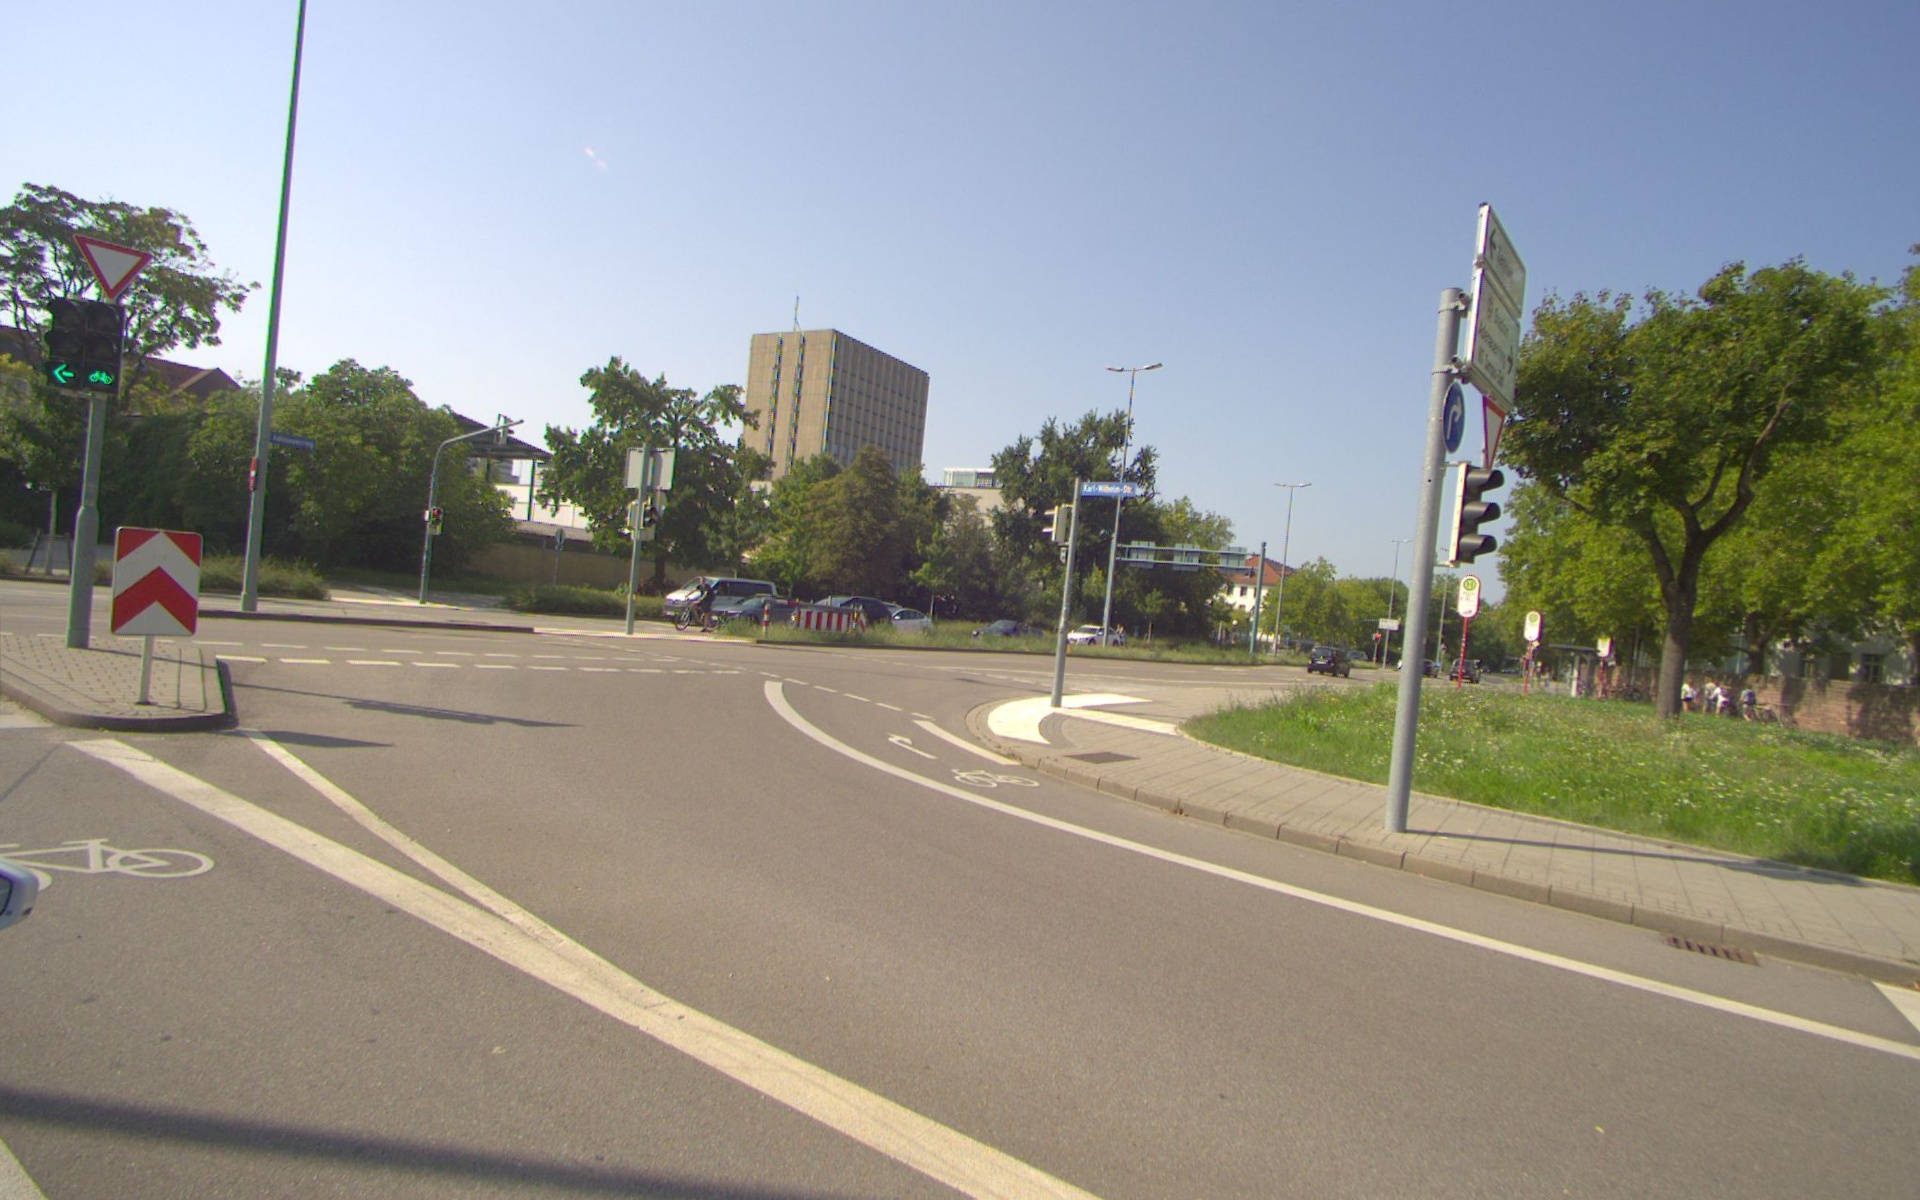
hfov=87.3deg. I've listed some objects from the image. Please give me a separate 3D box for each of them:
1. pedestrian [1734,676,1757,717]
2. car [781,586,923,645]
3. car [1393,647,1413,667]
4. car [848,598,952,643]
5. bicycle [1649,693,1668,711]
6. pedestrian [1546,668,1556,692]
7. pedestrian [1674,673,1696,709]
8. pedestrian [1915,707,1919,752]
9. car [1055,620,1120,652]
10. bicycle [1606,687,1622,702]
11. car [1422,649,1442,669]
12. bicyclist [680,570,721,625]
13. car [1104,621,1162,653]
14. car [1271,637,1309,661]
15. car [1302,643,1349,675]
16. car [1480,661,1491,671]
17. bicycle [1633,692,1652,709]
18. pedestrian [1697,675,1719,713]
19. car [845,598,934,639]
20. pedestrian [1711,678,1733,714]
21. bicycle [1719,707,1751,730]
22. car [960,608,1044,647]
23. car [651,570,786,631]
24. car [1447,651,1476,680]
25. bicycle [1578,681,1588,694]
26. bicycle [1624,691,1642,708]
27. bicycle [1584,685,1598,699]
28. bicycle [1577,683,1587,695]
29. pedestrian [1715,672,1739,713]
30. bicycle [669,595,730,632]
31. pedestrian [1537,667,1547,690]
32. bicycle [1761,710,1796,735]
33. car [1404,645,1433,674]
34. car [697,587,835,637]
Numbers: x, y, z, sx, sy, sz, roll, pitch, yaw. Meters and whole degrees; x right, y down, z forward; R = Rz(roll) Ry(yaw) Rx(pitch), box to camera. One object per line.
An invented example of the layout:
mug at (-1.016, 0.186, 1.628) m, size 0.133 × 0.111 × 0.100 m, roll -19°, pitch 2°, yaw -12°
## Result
pedestrian at (34.034, 4.177, 43.587) m, size 0.474 × 1.671 × 0.595 m, roll 7°, pitch -1°, yaw 16°
car at (-3.559, 0.560, 33.795) m, size 1.828 × 1.598 × 4.691 m, roll 4°, pitch -1°, yaw 41°
car at (53.513, 6.892, 121.458) m, size 1.886 × 2.037 × 3.999 m, roll 7°, pitch -2°, yaw 27°
car at (-2.570, 0.927, 43.850) m, size 1.971 × 1.524 × 4.415 m, roll 6°, pitch 0°, yaw 39°
bicycle at (38.287, 5.570, 55.156) m, size 0.426 × 0.846 × 1.549 m, roll 6°, pitch 0°, yaw 20°
pedestrian at (46.524, 6.303, 79.158) m, size 0.478 × 1.760 × 0.504 m, roll 7°, pitch -1°, yaw 32°
pedestrian at (33.556, 4.225, 46.582) m, size 0.525 × 1.589 × 0.503 m, roll 7°, pitch -1°, yaw 14°
pedestrian at (32.009, 4.215, 33.099) m, size 0.474 × 1.671 × 0.595 m, roll 7°, pitch -1°, yaw 12°
car at (7.326, 2.079, 57.557) m, size 1.901 × 1.524 × 4.283 m, roll 6°, pitch 0°, yaw 33°
bicycle at (41.029, 5.919, 63.120) m, size 0.426 × 0.846 × 1.549 m, roll 6°, pitch 0°, yaw 20°
car at (55.861, 6.986, 119.049) m, size 1.886 × 2.037 × 3.999 m, roll 7°, pitch -2°, yaw 27°
bicyclist at (-8.342, -0.077, 32.389) m, size 0.737 × 1.656 × 0.872 m, roll 7°, pitch 1°, yaw 37°
car at (10.865, 2.305, 62.833) m, size 1.901 × 1.680 × 4.283 m, roll 6°, pitch 0°, yaw 33°
car at (25.040, 3.755, 76.292) m, size 1.683 × 1.593 × 3.991 m, roll 6°, pitch 0°, yaw 32°
car at (21.492, 3.474, 59.045) m, size 1.683 × 1.593 × 3.991 m, roll 6°, pitch 0°, yaw 32°
car at (114.968, 14.414, 220.202) m, size 1.886 × 1.838 × 3.995 m, roll 6°, pitch 0°, yaw 27°
bicycle at (39.010, 5.757, 57.489) m, size 0.426 × 0.846 × 1.549 m, roll 6°, pitch 0°, yaw 20°
pedestrian at (34.564, 4.345, 46.482) m, size 0.474 × 1.671 × 0.595 m, roll 7°, pitch -1°, yaw 16°
car at (-3.243, 0.862, 46.846) m, size 1.784 × 1.524 × 3.950 m, roll 6°, pitch 0°, yaw 39°
pedestrian at (35.090, 4.424, 46.327) m, size 0.525 × 1.589 × 0.503 m, roll 7°, pitch -1°, yaw 14°
bicycle at (35.493, 5.420, 46.073) m, size 0.425 × 0.846 × 1.550 m, roll 6°, pitch 0°, yaw 11°
car at (2.156, 1.389, 50.295) m, size 1.971 × 1.524 × 4.277 m, roll 6°, pitch 0°, yaw 39°
car at (-9.377, 0.060, 39.422) m, size 1.820 × 1.898 × 4.951 m, roll 6°, pitch 0°, yaw 39°
car at (41.000, 5.375, 82.262) m, size 1.886 × 2.037 × 3.999 m, roll 7°, pitch -2°, yaw 27°
bicycle at (47.360, 6.646, 76.512) m, size 0.426 × 0.846 × 1.548 m, roll 6°, pitch 0°, yaw 27°
bicycle at (39.576, 5.826, 59.159) m, size 0.426 × 0.846 × 1.549 m, roll 6°, pitch 0°, yaw 20°
bicycle at (43.836, 6.402, 69.871) m, size 0.426 × 0.846 × 1.549 m, roll 6°, pitch 0°, yaw 21°
bicycle at (45.993, 6.571, 74.415) m, size 0.426 × 0.846 × 1.548 m, roll 6°, pitch 0°, yaw 27°
pedestrian at (33.238, 4.001, 43.595) m, size 0.510 × 1.671 × 0.595 m, roll 7°, pitch -1°, yaw 16°
bicycle at (-8.383, 0.446, 32.417) m, size 0.758 × 1.066 × 1.768 m, roll 7°, pitch 1°, yaw 37°
pedestrian at (45.800, 6.208, 79.166) m, size 0.478 × 1.760 × 0.504 m, roll 7°, pitch -1°, yaw 32°
bicycle at (34.784, 5.196, 42.770) m, size 0.425 × 0.846 × 1.550 m, roll 6°, pitch 0°, yaw 11°
car at (38.325, 4.956, 84.104) m, size 1.886 × 2.037 × 3.999 m, roll 7°, pitch -2°, yaw 27°
car at (-7.155, 0.486, 37.587) m, size 1.884 × 1.418 × 4.898 m, roll 6°, pitch 0°, yaw 39°
